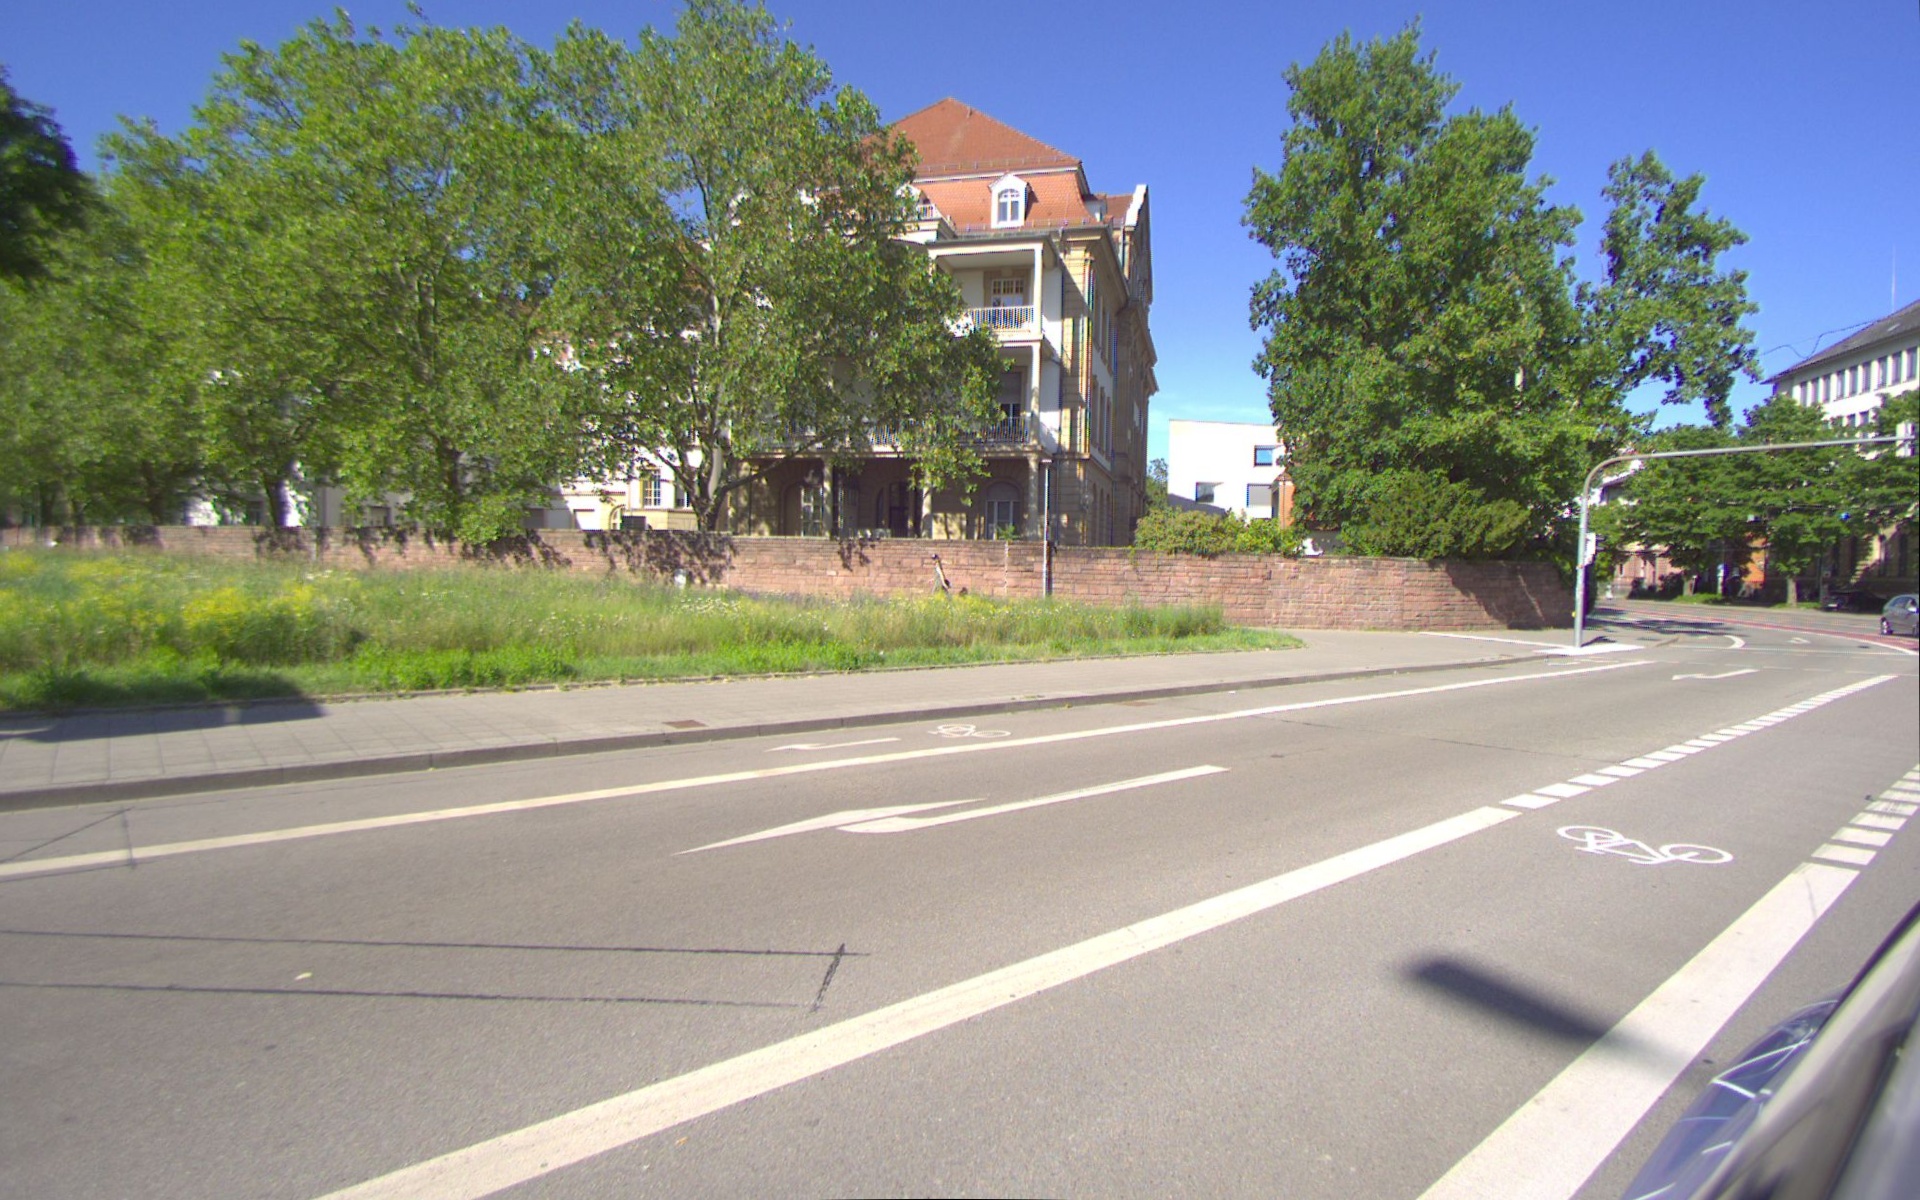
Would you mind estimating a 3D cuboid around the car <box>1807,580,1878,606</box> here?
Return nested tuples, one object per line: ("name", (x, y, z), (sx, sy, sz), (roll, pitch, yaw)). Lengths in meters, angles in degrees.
("car", (60.161, -0.518, 69.066), (1.806, 1.615, 3.988), (2, 2, 11))

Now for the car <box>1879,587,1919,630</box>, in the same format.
("car", (36.545, 0.307, 37.577), (1.976, 1.610, 4.817), (0, 0, 21))

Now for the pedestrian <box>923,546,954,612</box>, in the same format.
("pedestrian", (-0.628, -0.610, 29.255), (0.774, 1.881, 0.629), (1, 1, 8))

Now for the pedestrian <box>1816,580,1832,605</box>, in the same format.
("pedestrian", (66.359, -0.596, 77.714), (0.568, 1.927, 0.849), (1, 1, 12))

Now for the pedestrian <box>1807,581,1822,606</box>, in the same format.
("pedestrian", (65.731, -0.521, 77.857), (0.568, 1.927, 0.781), (1, 1, 12))
